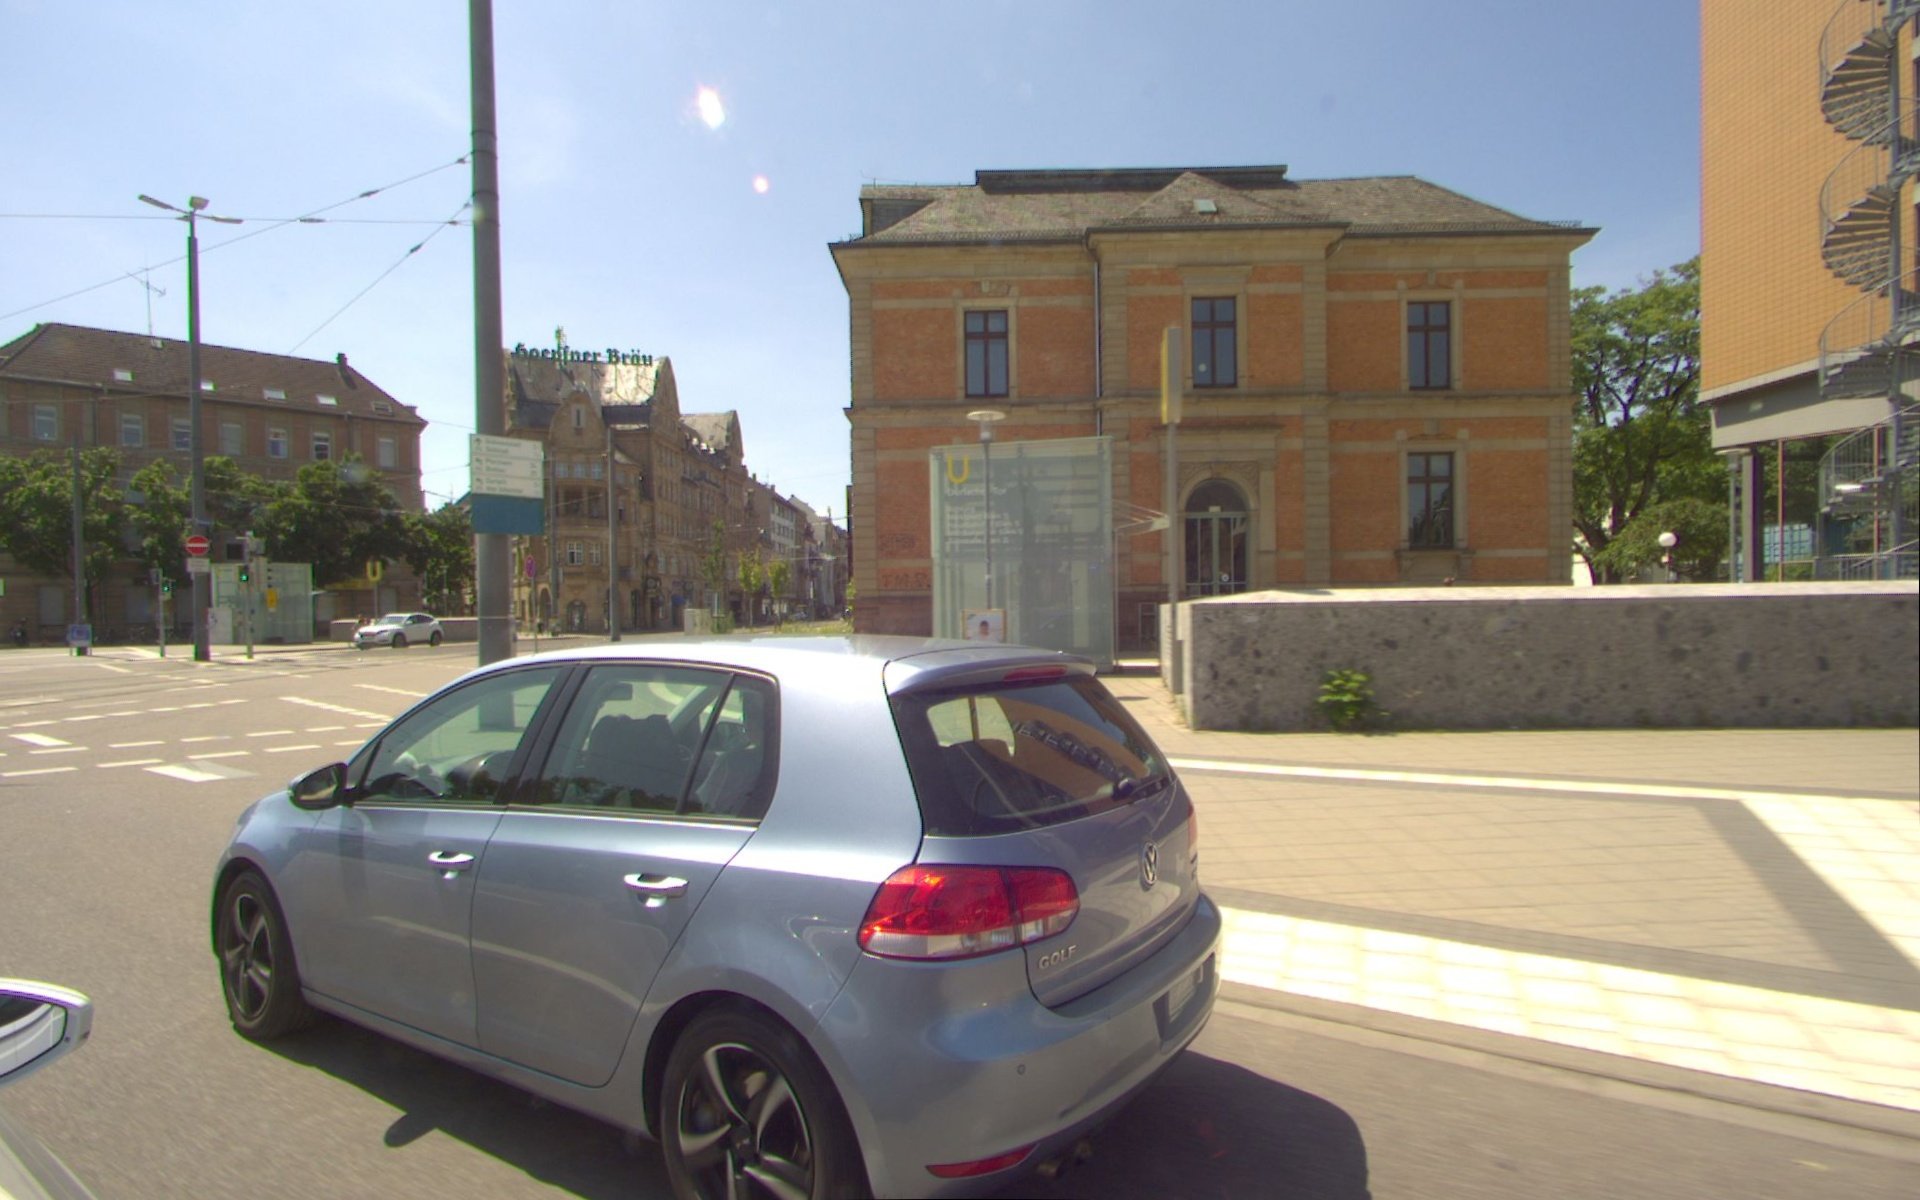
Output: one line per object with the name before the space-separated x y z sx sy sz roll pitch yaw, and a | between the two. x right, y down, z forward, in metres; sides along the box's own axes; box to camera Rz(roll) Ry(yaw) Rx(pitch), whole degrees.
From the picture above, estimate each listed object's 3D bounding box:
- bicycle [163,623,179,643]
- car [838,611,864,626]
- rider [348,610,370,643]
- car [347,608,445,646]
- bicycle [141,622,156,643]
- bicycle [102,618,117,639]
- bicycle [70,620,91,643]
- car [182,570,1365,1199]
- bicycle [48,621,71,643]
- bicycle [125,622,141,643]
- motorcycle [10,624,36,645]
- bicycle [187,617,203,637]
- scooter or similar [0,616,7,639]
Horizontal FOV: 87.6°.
bicycle | -44.736 1.861 56.784 0.547 1.134 1.853 -1 0 -43
car | -11.093 1.904 102.094 1.961 1.471 4.002 -1 -3 4
rider | -30.091 1.317 50.169 0.553 1.622 0.875 0 0 -1
car | -25.219 1.180 44.932 1.662 1.626 4.192 -1 0 6
bicycle | -45.029 1.790 55.558 0.547 1.134 1.871 -1 0 -43
bicycle | -46.119 1.546 54.294 0.547 1.134 1.803 -1 0 -43
bicycle | -46.967 1.690 53.457 2.068 1.160 0.441 -2 -3 37
car | -0.864 0.748 3.423 3.947 1.477 1.648 -1 -2 33
bicycle | -47.389 1.672 52.701 1.797 1.134 0.549 -1 0 37
bicycle | -45.428 1.767 54.996 0.547 1.134 1.803 -1 0 -43
motorcycle | -48.262 1.762 51.592 1.919 1.089 0.578 -1 0 35
bicycle | -44.105 1.562 57.718 0.547 1.134 1.911 -1 0 -43
scooter or similar | -50.919 1.438 52.257 0.588 1.196 1.792 -1 0 2
